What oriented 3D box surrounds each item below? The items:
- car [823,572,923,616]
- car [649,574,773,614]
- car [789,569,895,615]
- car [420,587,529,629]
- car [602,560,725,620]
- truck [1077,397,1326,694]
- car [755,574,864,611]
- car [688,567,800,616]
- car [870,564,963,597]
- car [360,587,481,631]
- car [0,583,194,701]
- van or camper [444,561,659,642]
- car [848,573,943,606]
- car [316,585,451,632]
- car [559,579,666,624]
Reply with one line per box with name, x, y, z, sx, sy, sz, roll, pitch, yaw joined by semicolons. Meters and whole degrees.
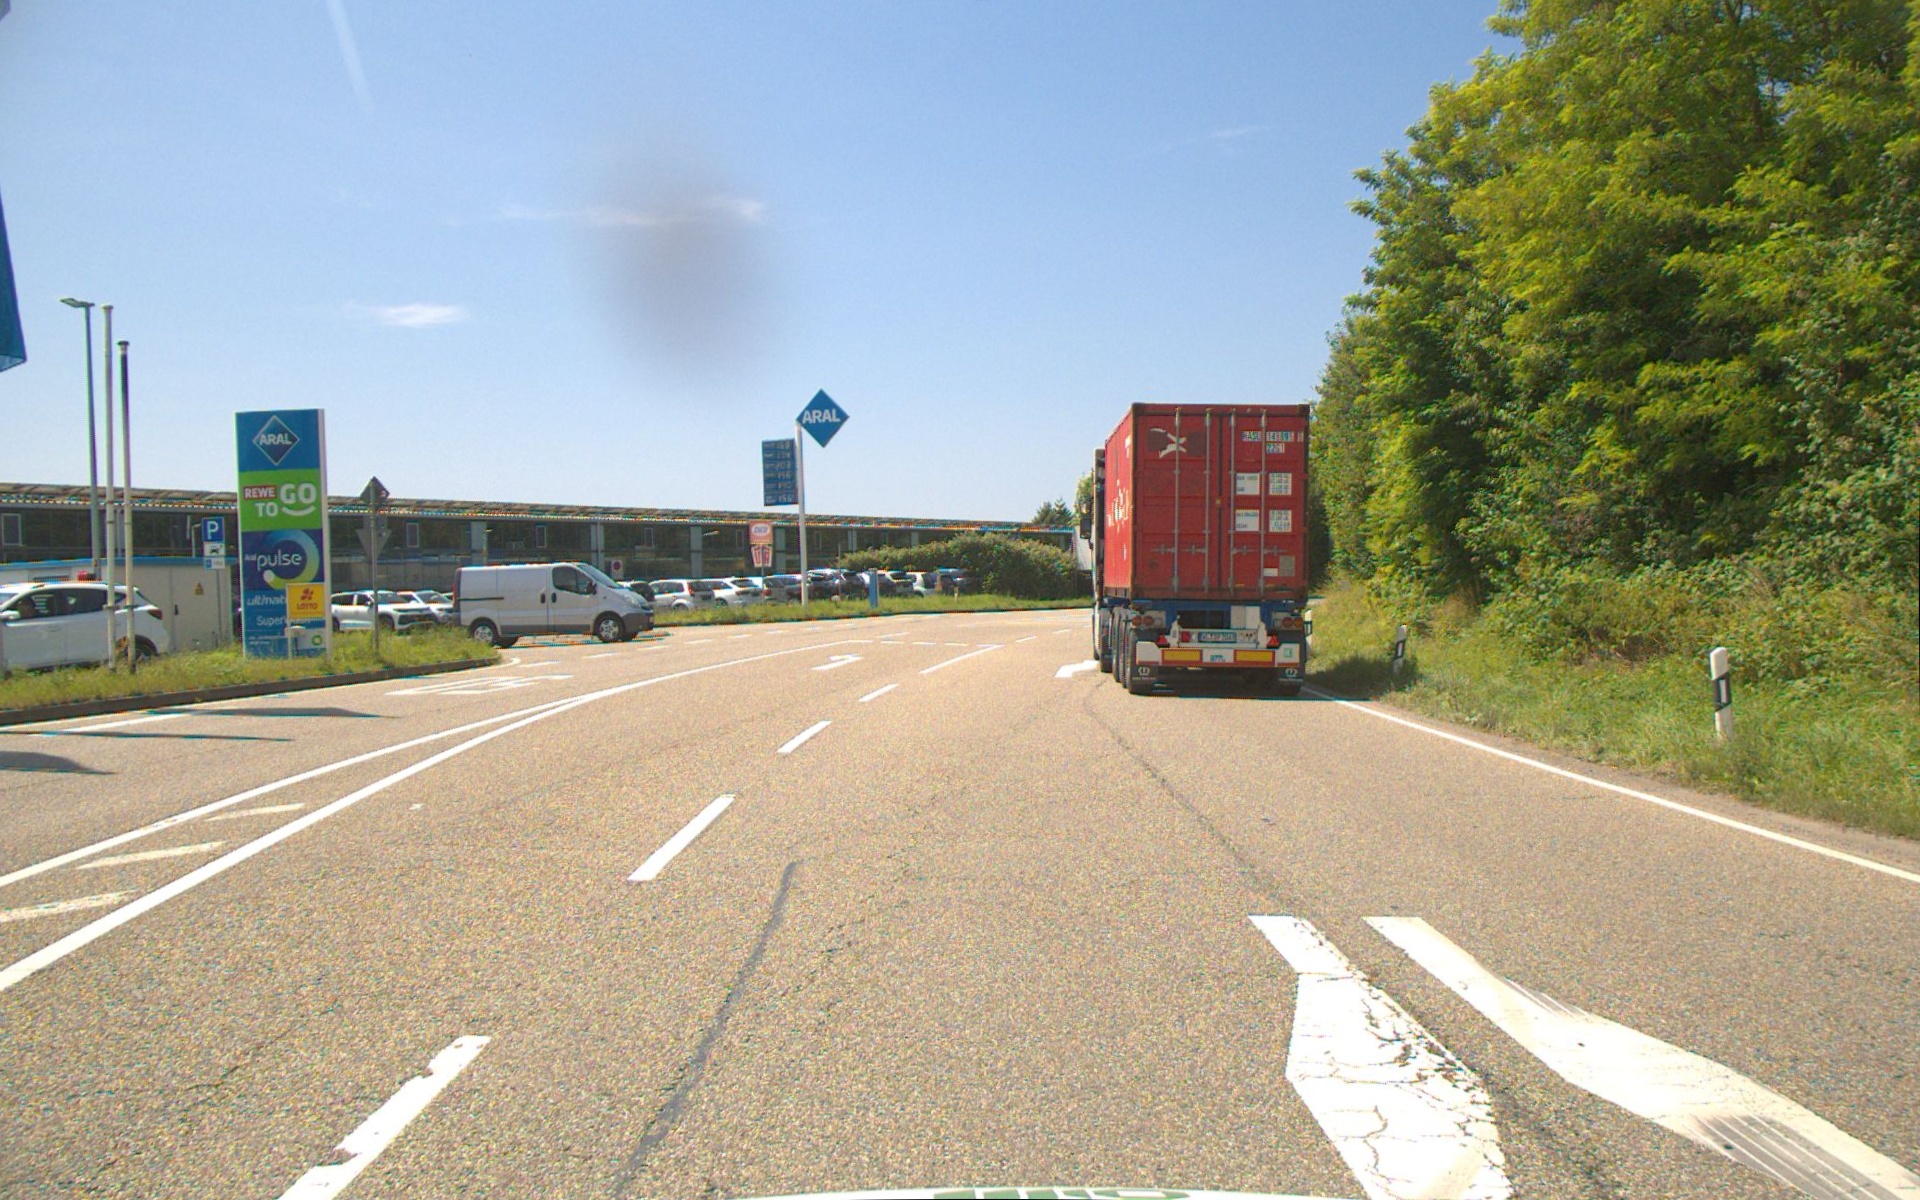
car;-3.847;-0.259;73.357;3.910;1.780;1.998;-2;0;27
car;-9.279;-0.208;61.701;4.153;1.383;1.999;-1;1;26
car;-4.896;-0.330;68.521;3.910;1.780;1.998;-1;1;28
car;-18.851;0.319;64.210;3.909;1.610;1.816;-1;0;26
car;-10.701;-0.371;59.711;3.908;2.049;1.999;-1;1;26
truck;3.690;-0.814;28.707;2.593;3.872;13.363;2;1;1
car;-6.062;-0.307;66.510;3.910;1.355;1.998;-2;0;27
car;-8.398;-0.317;64.227;3.910;1.780;1.932;-1;1;28
car;-2.037;-0.908;77.597;3.907;1.386;1.819;-2;0;25
car;-20.244;0.333;62.086;4.041;1.530;1.999;-2;0;25
car;-14.427;0.627;25.519;1.829;1.742;4.508;0;-1;31
van or camper;-9.919;0.041;40.418;4.747;1.938;1.904;0;-1;1
car;-2.961;-0.481;75.642;3.907;1.340;1.832;-2;0;25
car;-20.851;0.312;59.846;4.488;1.530;1.999;-2;0;25
car;-12.135;0.044;57.714;3.374;1.466;1.562;-1;1;25
